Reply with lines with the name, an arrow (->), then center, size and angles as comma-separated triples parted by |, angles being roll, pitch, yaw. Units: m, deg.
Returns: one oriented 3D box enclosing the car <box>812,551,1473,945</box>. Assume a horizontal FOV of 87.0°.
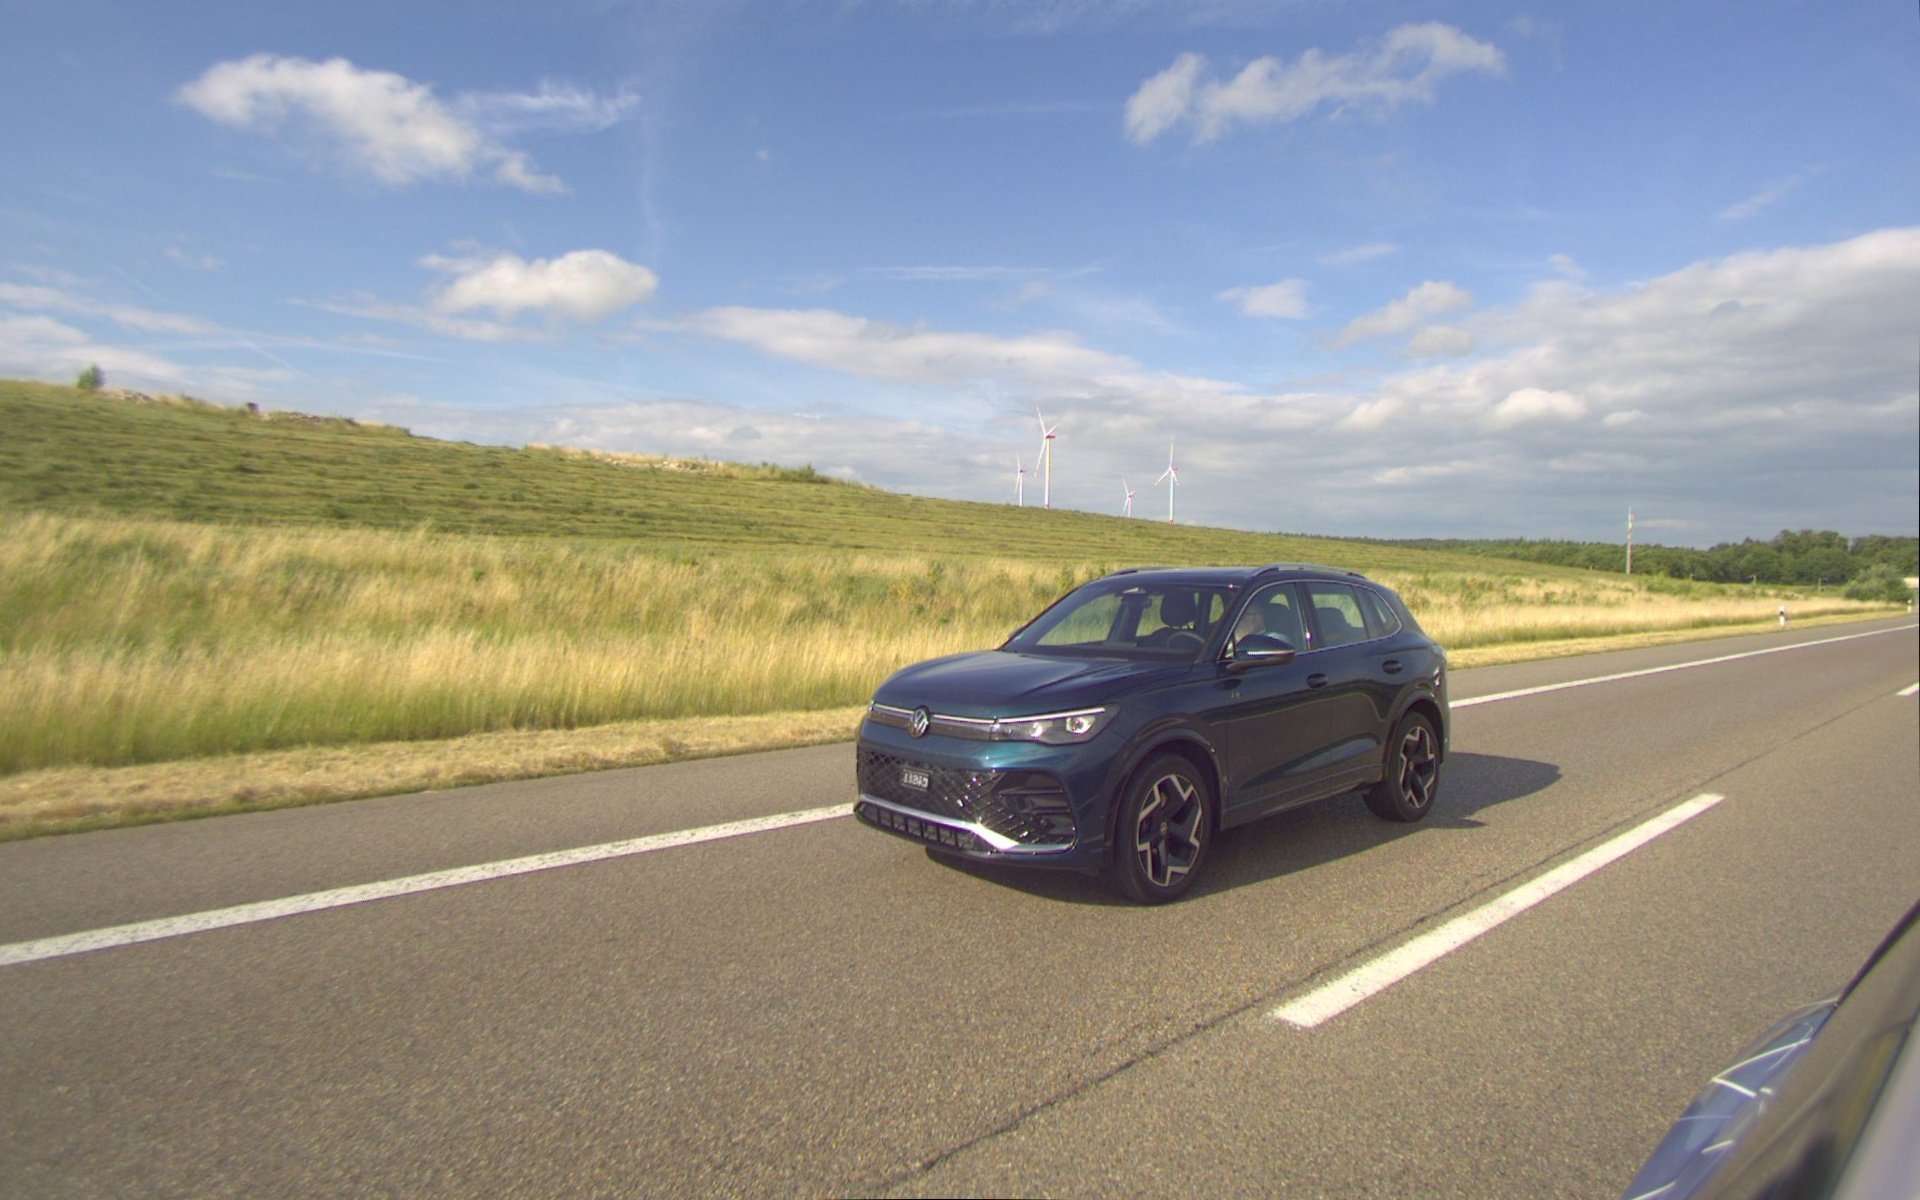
car -> 1.346, 0.574, 6.236 | 4.161, 1.621, 1.824 | -1, 1, -41
